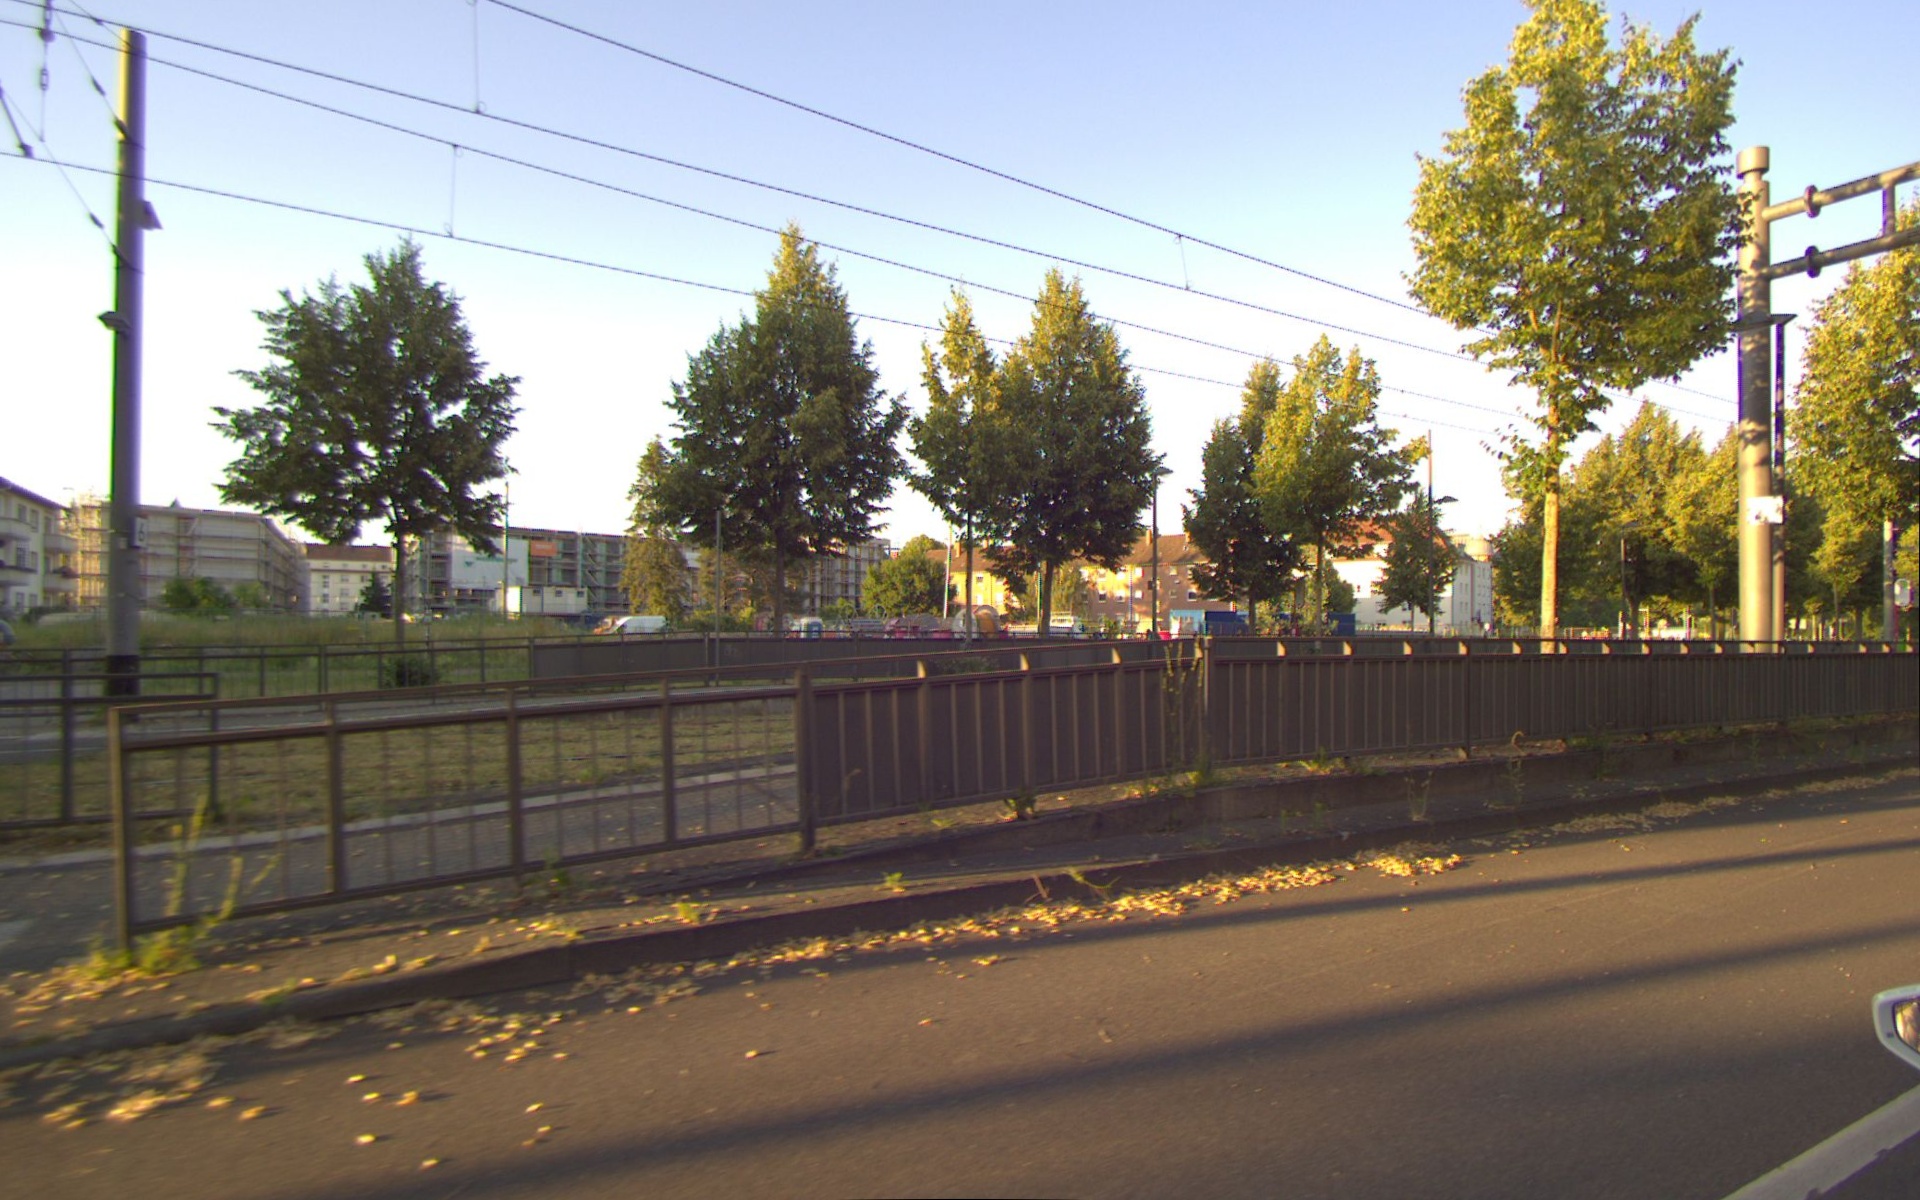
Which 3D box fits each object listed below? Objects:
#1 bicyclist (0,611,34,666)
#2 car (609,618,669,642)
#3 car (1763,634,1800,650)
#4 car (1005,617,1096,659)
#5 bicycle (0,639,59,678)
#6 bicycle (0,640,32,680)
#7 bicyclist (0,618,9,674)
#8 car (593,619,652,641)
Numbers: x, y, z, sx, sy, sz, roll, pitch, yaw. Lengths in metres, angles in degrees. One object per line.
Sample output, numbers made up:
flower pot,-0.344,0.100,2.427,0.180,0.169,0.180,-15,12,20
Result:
bicyclist,-25.921,1.043,27.326,0.927,1.475,0.616,2,-2,-32
car,-28.734,2.672,89.924,4.760,2.040,1.979,2,-2,-37
car,90.970,4.683,111.240,3.953,1.684,1.984,2,-2,-30
car,5.179,2.120,56.548,2.384,2.254,5.898,0,-2,36
bicycle,-25.935,1.584,27.292,2.060,1.024,0.616,2,-2,-32
bicycle,-25.567,1.564,26.067,2.060,1.024,0.616,2,-2,-32
bicyclist,-25.483,1.188,26.140,0.927,1.475,0.616,2,-2,-32
car,-31.176,2.774,92.914,4.737,2.040,1.975,2,-2,-42
